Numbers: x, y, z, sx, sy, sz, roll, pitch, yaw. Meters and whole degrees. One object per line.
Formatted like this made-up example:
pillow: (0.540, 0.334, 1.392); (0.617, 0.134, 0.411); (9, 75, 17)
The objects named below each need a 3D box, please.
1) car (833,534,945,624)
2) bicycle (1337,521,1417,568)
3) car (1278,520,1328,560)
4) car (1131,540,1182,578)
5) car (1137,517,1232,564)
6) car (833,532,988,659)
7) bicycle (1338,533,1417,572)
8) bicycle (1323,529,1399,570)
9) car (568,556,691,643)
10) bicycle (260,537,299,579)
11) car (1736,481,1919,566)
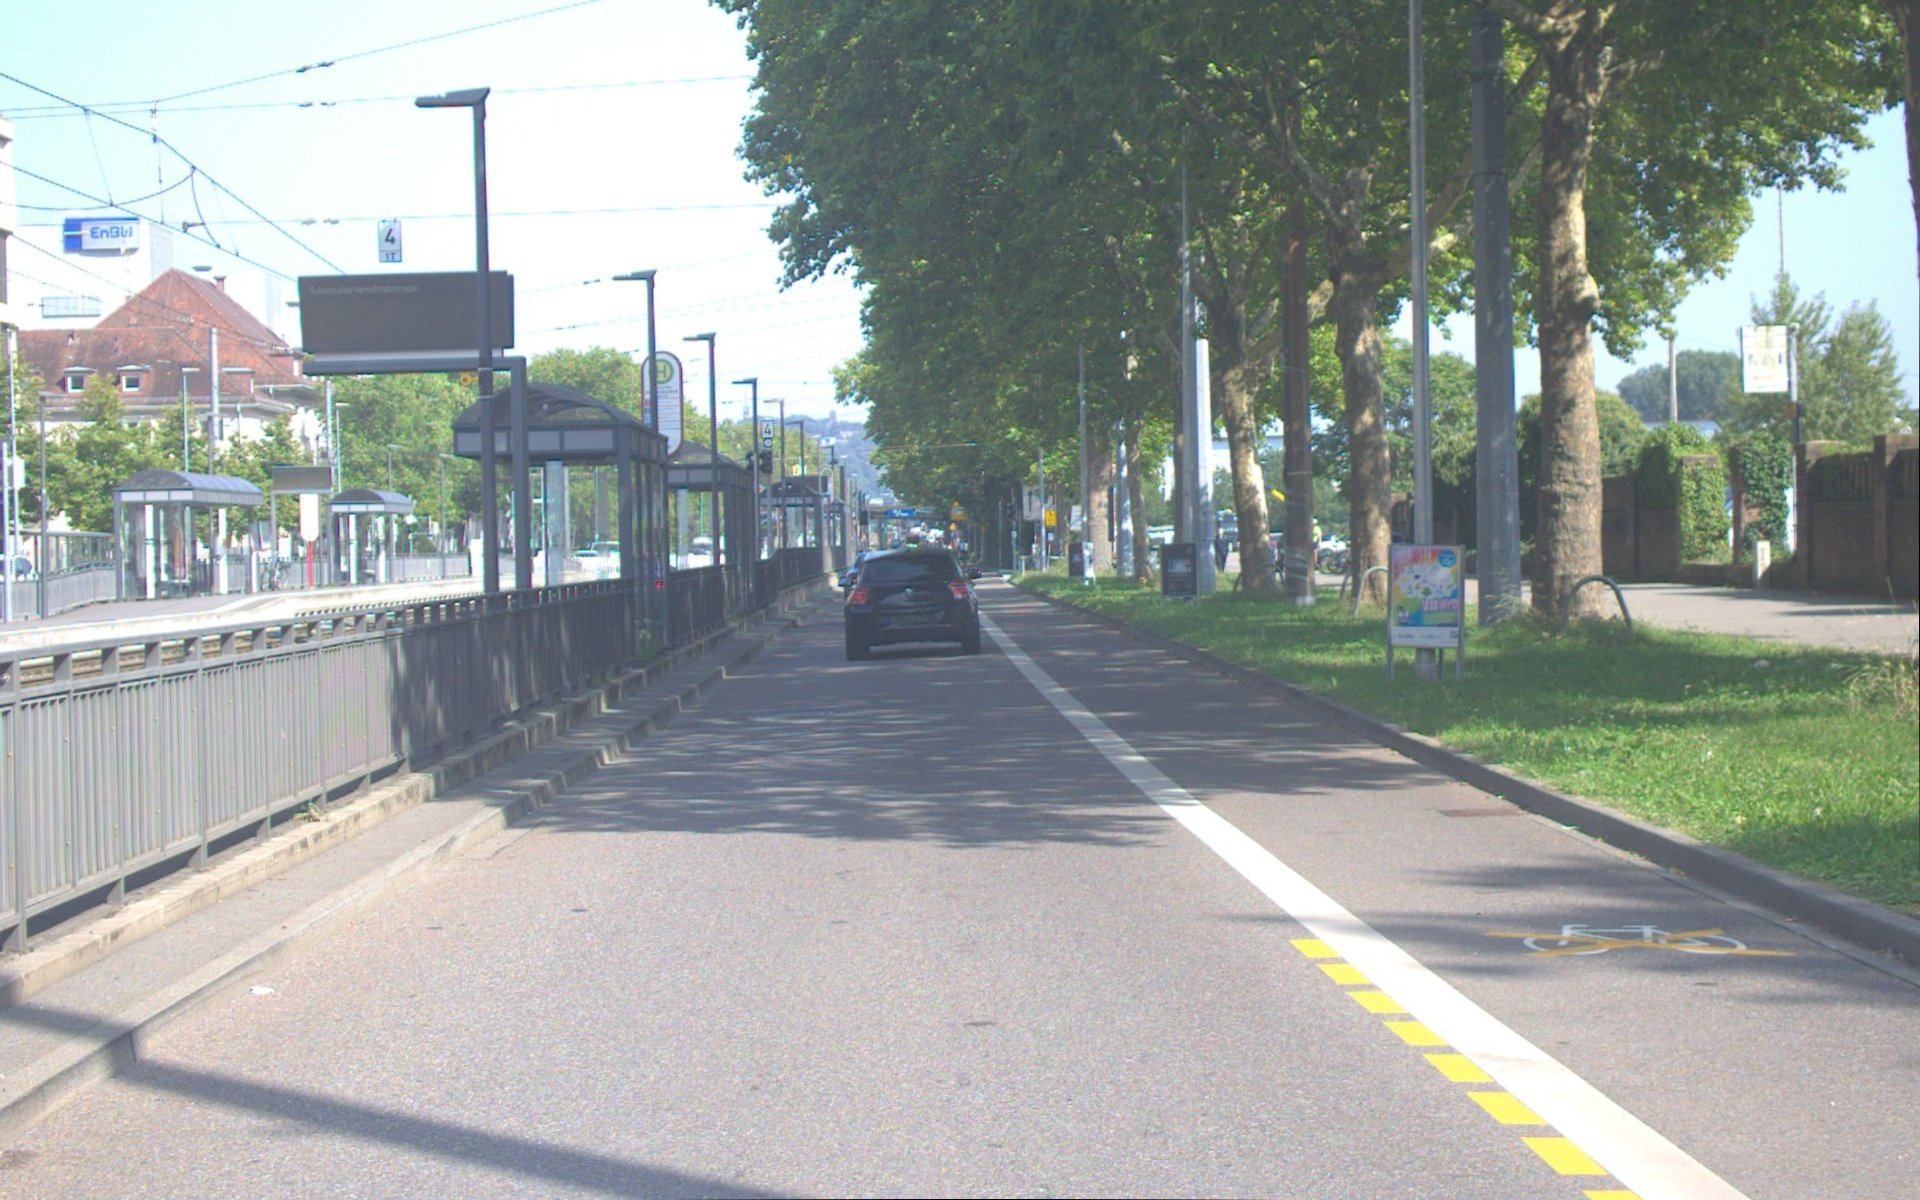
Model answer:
car: (-1.384, -0.422, 66.618); (1.973, 1.532, 4.000); (-5, 1, -1)
bicycle: (12.755, -1.685, 105.101); (2.244, 1.272, 0.999); (-3, 0, -1)
car: (14.040, -2.470, 140.919); (1.607, 1.570, 3.797); (-2, 1, 0)
car: (7.975, -1.684, 139.720); (1.728, 1.443, 4.551); (-2, 1, 0)
car: (9.982, -2.654, 153.079); (4.103, 1.912, 1.847); (-3, 1, 3)
car: (-0.679, -0.091, 46.206); (1.907, 1.532, 4.000); (-3, 1, -1)
bicycle: (12.217, -1.399, 100.577); (2.173, 1.073, 0.743); (-1, 1, -2)
bicycle: (12.083, -1.522, 103.602); (2.173, 1.073, 0.743); (-4, 1, 3)
car: (-6.362, -0.037, 66.546); (1.993, 1.554, 4.000); (-1, 1, 0)
bicycle: (-18.976, -1.180, 95.918); (0.471, 1.143, 1.483); (-1, 1, 14)
car: (19.716, -1.712, 76.167); (4.521, 1.728, 1.910); (-2, 1, -2)
